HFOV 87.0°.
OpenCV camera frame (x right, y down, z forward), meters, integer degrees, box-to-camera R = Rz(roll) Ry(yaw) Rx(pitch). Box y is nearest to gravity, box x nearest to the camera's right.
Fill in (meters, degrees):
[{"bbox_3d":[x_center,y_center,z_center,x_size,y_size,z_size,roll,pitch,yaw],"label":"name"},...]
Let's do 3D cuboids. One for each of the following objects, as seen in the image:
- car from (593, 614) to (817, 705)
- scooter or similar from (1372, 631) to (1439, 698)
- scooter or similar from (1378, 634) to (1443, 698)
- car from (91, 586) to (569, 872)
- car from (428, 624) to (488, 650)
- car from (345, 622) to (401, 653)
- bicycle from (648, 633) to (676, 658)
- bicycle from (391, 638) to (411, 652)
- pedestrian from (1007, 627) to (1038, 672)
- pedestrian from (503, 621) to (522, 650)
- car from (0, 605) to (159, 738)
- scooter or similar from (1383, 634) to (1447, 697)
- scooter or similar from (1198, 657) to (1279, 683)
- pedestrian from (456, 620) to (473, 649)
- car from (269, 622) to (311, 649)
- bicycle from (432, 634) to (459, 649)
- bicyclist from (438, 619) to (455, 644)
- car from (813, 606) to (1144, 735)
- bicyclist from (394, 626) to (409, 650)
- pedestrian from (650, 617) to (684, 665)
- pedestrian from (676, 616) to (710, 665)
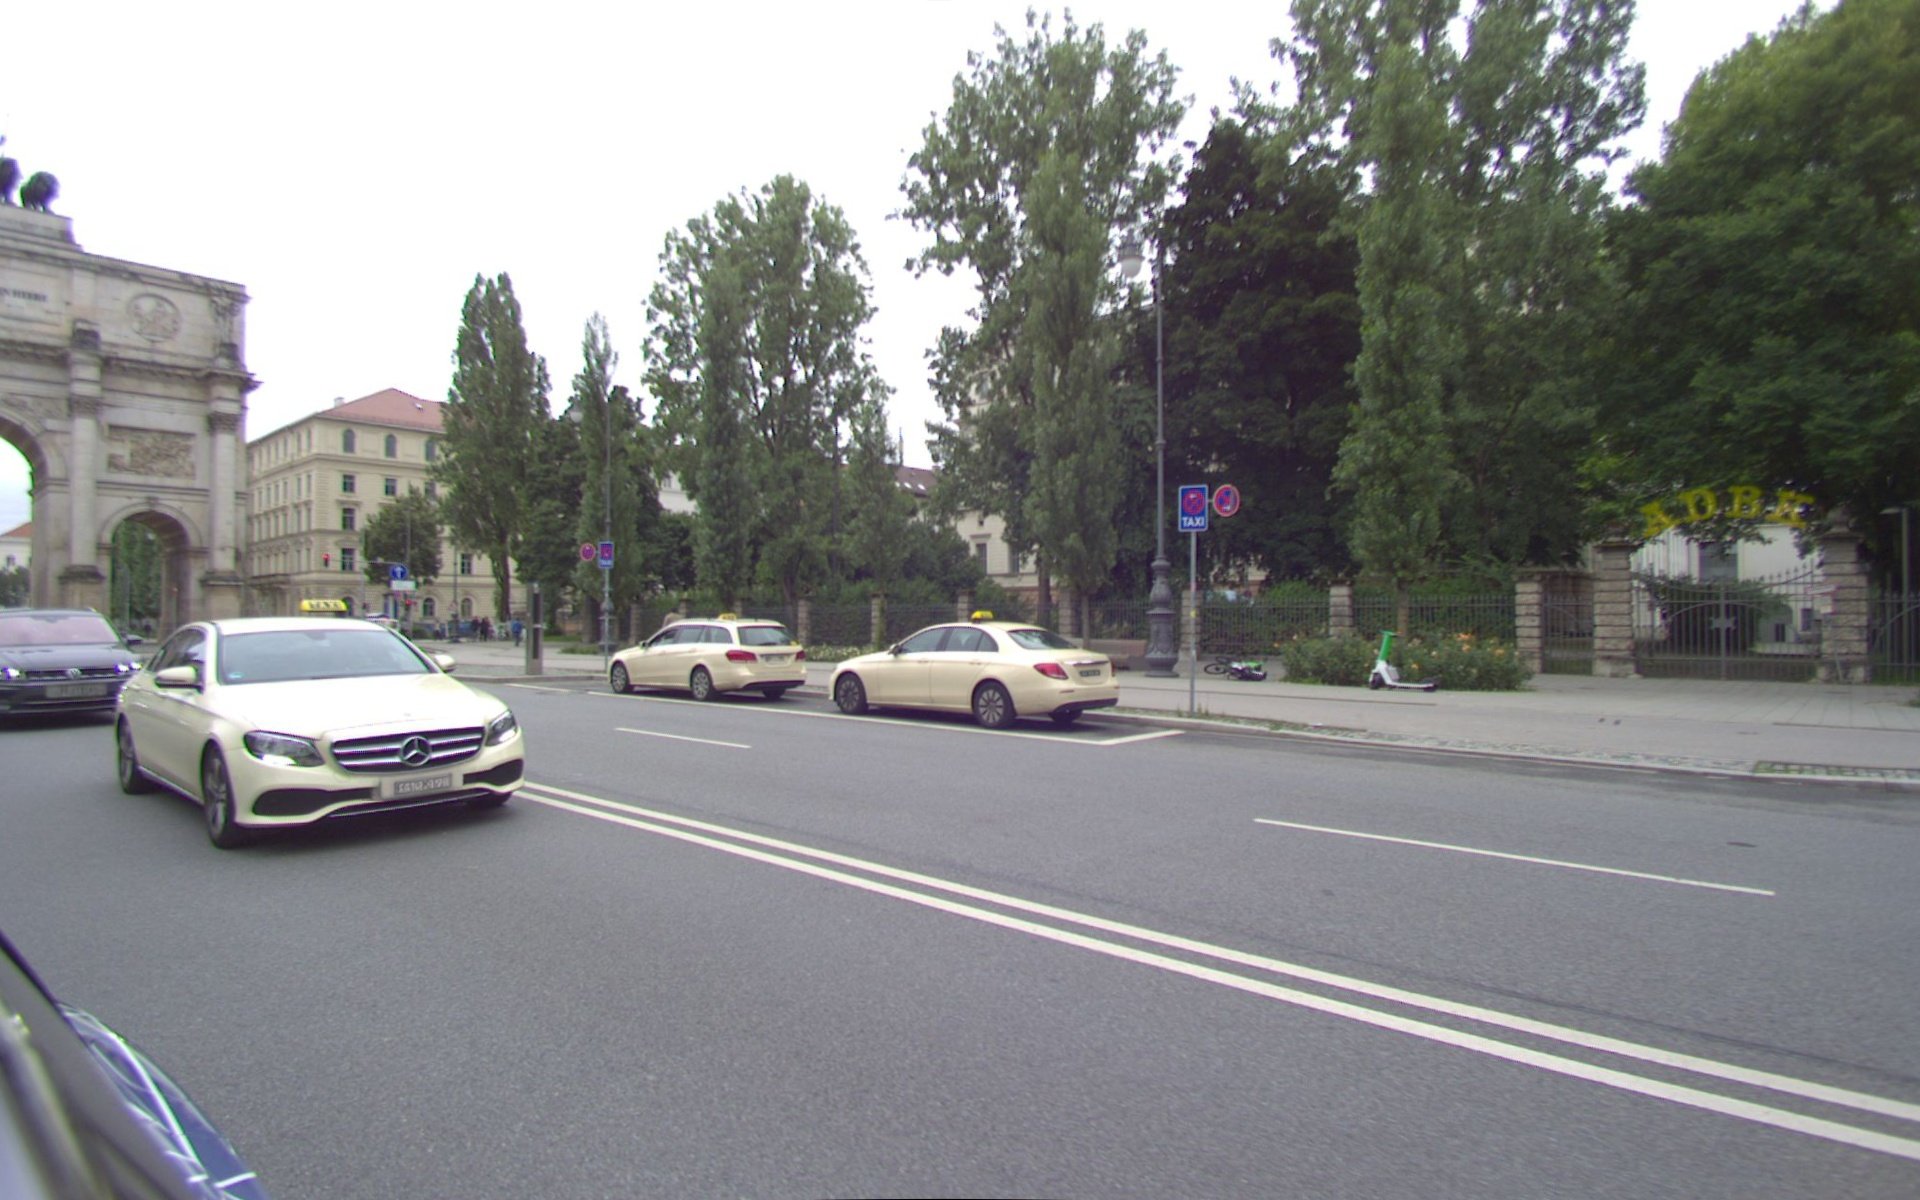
[{"bbox_3d":[-5.081,1.101,19.748,4.857,1.571,1.799,-1,-3,42],"label":"car"},{"bbox_3d":[8.573,1.221,19.489,1.141,1.251,0.255,-2,-2,43],"label":"scooter or similar"},{"bbox_3d":[8.754,1.274,19.686,1.122,1.210,0.240,-2,-2,42],"label":"scooter or similar"},{"bbox_3d":[-5.145,0.752,7.947,4.687,1.587,1.895,-1,0,41],"label":"car"},{"bbox_3d":[-40.969,3.025,82.669,1.999,2.029,3.945,-2,-2,41],"label":"car"},{"bbox_3d":[-36.601,2.324,63.095,1.975,1.869,4.996,3,-2,-42],"label":"car"},{"bbox_3d":[-13.510,2.054,45.919,0.628,1.072,1.737,-1,-2,4],"label":"bicycle"},{"bbox_3d":[-40.582,3.285,73.471,1.758,0.981,0.636,-2,-2,36],"label":"bicycle"},{"bbox_3d":[1.878,1.493,30.594,0.832,1.347,0.574,-1,-2,15],"label":"pedestrian"},{"bbox_3d":[-27.884,2.231,63.030,0.745,1.799,0.913,-1,-2,6],"label":"pedestrian"},{"bbox_3d":[-13.305,0.944,14.683,4.410,1.636,1.928,-1,0,42],"label":"car"},{"bbox_3d":[8.930,1.274,19.878,1.122,1.210,0.240,-2,-2,42],"label":"scooter or similar"},{"bbox_3d":[6.539,1.647,23.941,1.314,0.522,2.236,0,-2,1],"label":"scooter or similar"},{"bbox_3d":[-34.942,2.420,71.362,0.747,2.029,0.793,-1,-2,7],"label":"pedestrian"},{"bbox_3d":[-42.535,2.252,64.198,1.759,1.684,4.006,1,-2,-41],"label":"car"},{"bbox_3d":[-36.169,2.912,71.160,1.746,0.981,0.640,-1,-2,17],"label":"bicycle"},{"bbox_3d":[-36.109,2.223,71.154,0.853,1.723,0.640,-1,-2,17],"label":"bicyclist"},{"bbox_3d":[0.130,0.937,15.241,4.964,1.637,1.917,-1,-2,42],"label":"car"},{"bbox_3d":[-40.587,2.734,73.497,0.858,1.723,0.636,-2,-2,36],"label":"bicyclist"},{"bbox_3d":[-10.353,1.444,35.752,0.834,1.691,0.968,1,-2,-42],"label":"pedestrian"},{"bbox_3d":[-9.547,1.437,36.126,0.834,1.691,0.968,1,-2,-42],"label":"pedestrian"}]
